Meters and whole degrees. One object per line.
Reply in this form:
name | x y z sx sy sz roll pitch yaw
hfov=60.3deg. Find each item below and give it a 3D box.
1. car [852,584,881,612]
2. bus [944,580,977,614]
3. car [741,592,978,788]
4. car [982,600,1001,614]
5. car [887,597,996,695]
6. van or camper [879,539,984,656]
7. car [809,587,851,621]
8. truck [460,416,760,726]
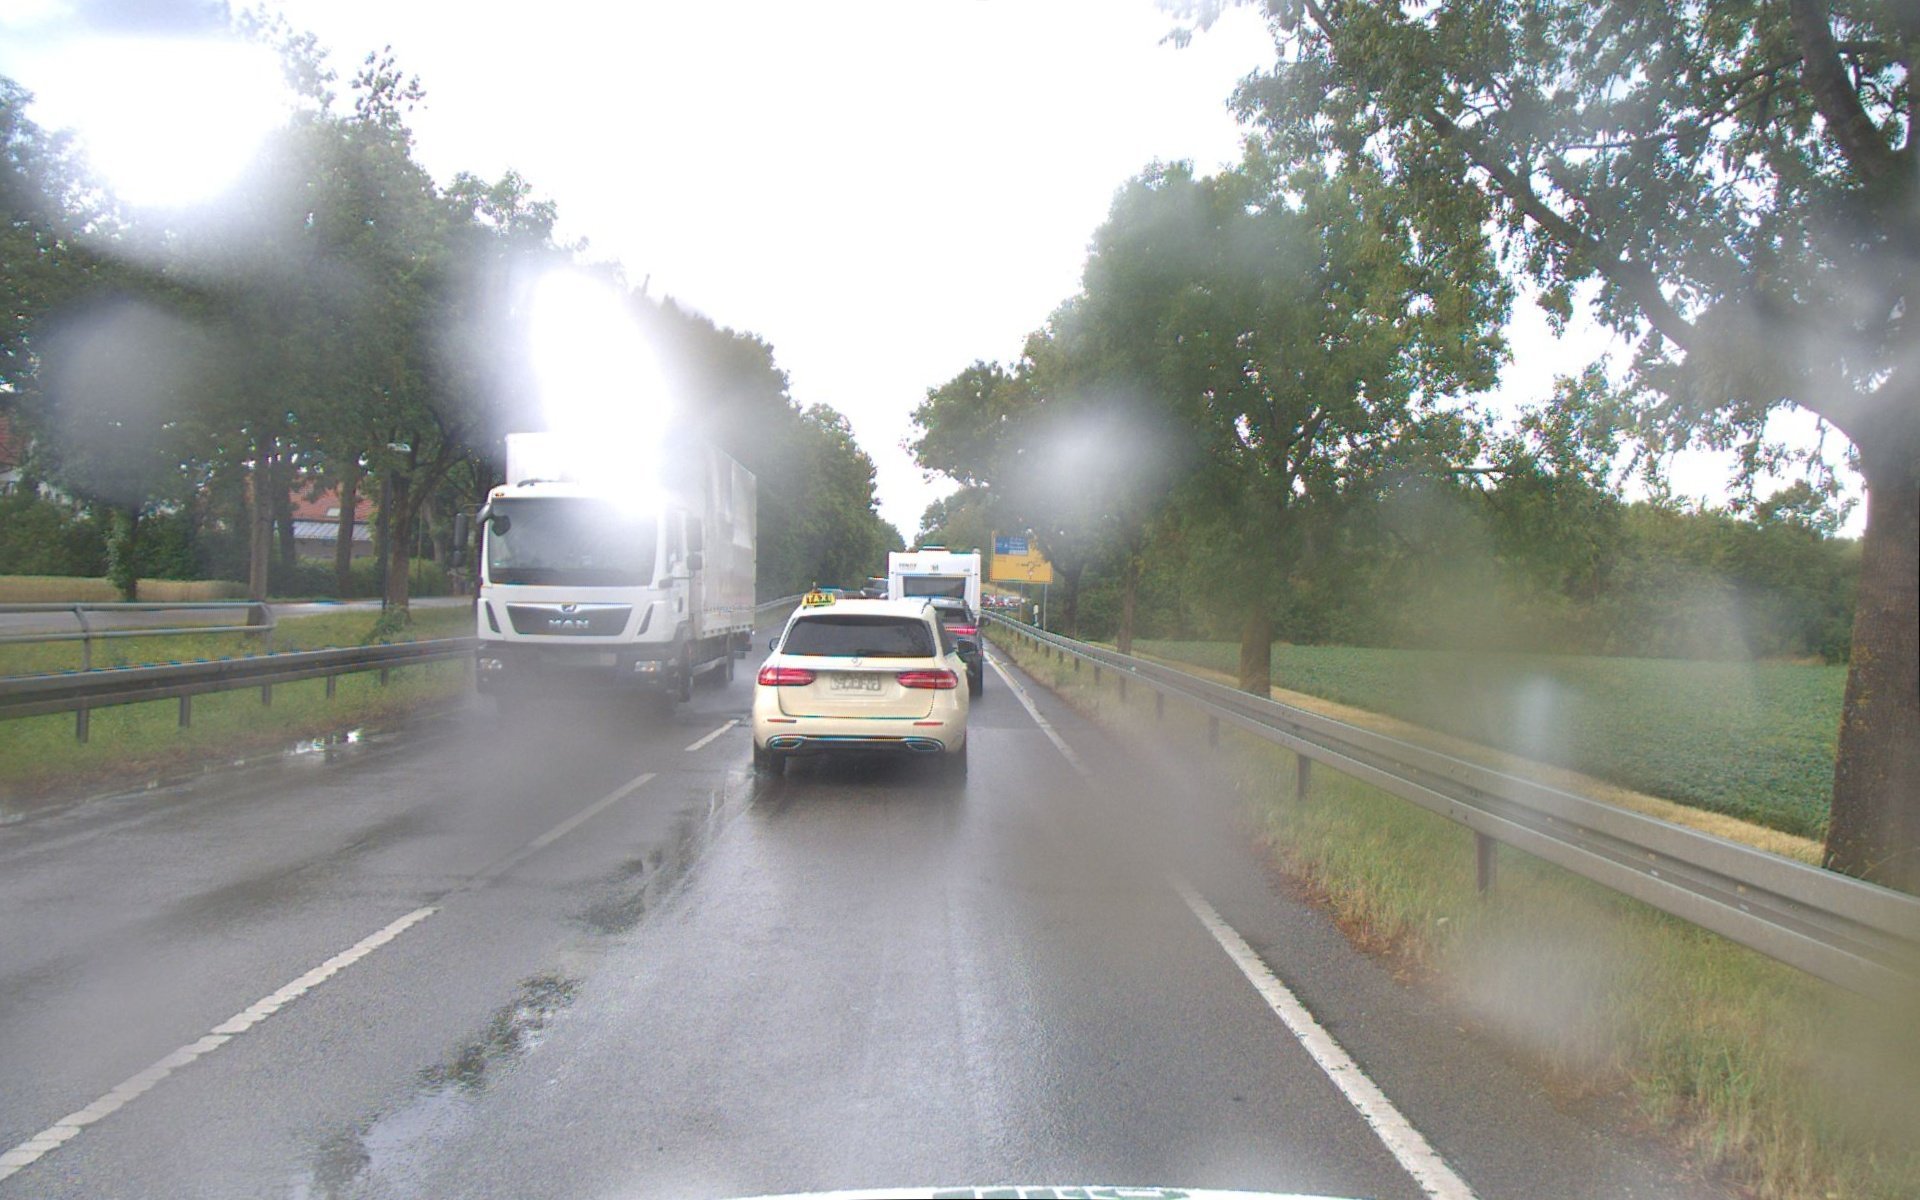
car | -6.337 -0.131 112.111 1.791 1.834 4.414 0 0 -1
bus | -0.009 -0.206 101.791 1.953 2.049 3.999 0 0 -1
car | -0.766 0.694 14.819 1.826 1.502 4.000 1 0 0
car | 2.550 0.556 135.211 1.520 1.138 4.000 1 0 0
car | -0.268 0.692 27.057 1.630 1.456 4.000 1 0 0
van or camper | -0.669 -0.064 42.089 2.438 2.732 5.700 1 0 0
car | -5.972 0.173 76.166 1.679 1.476 4.110 1 0 -1
truck | -4.567 -0.351 23.648 2.524 3.512 9.552 0 0 -2
